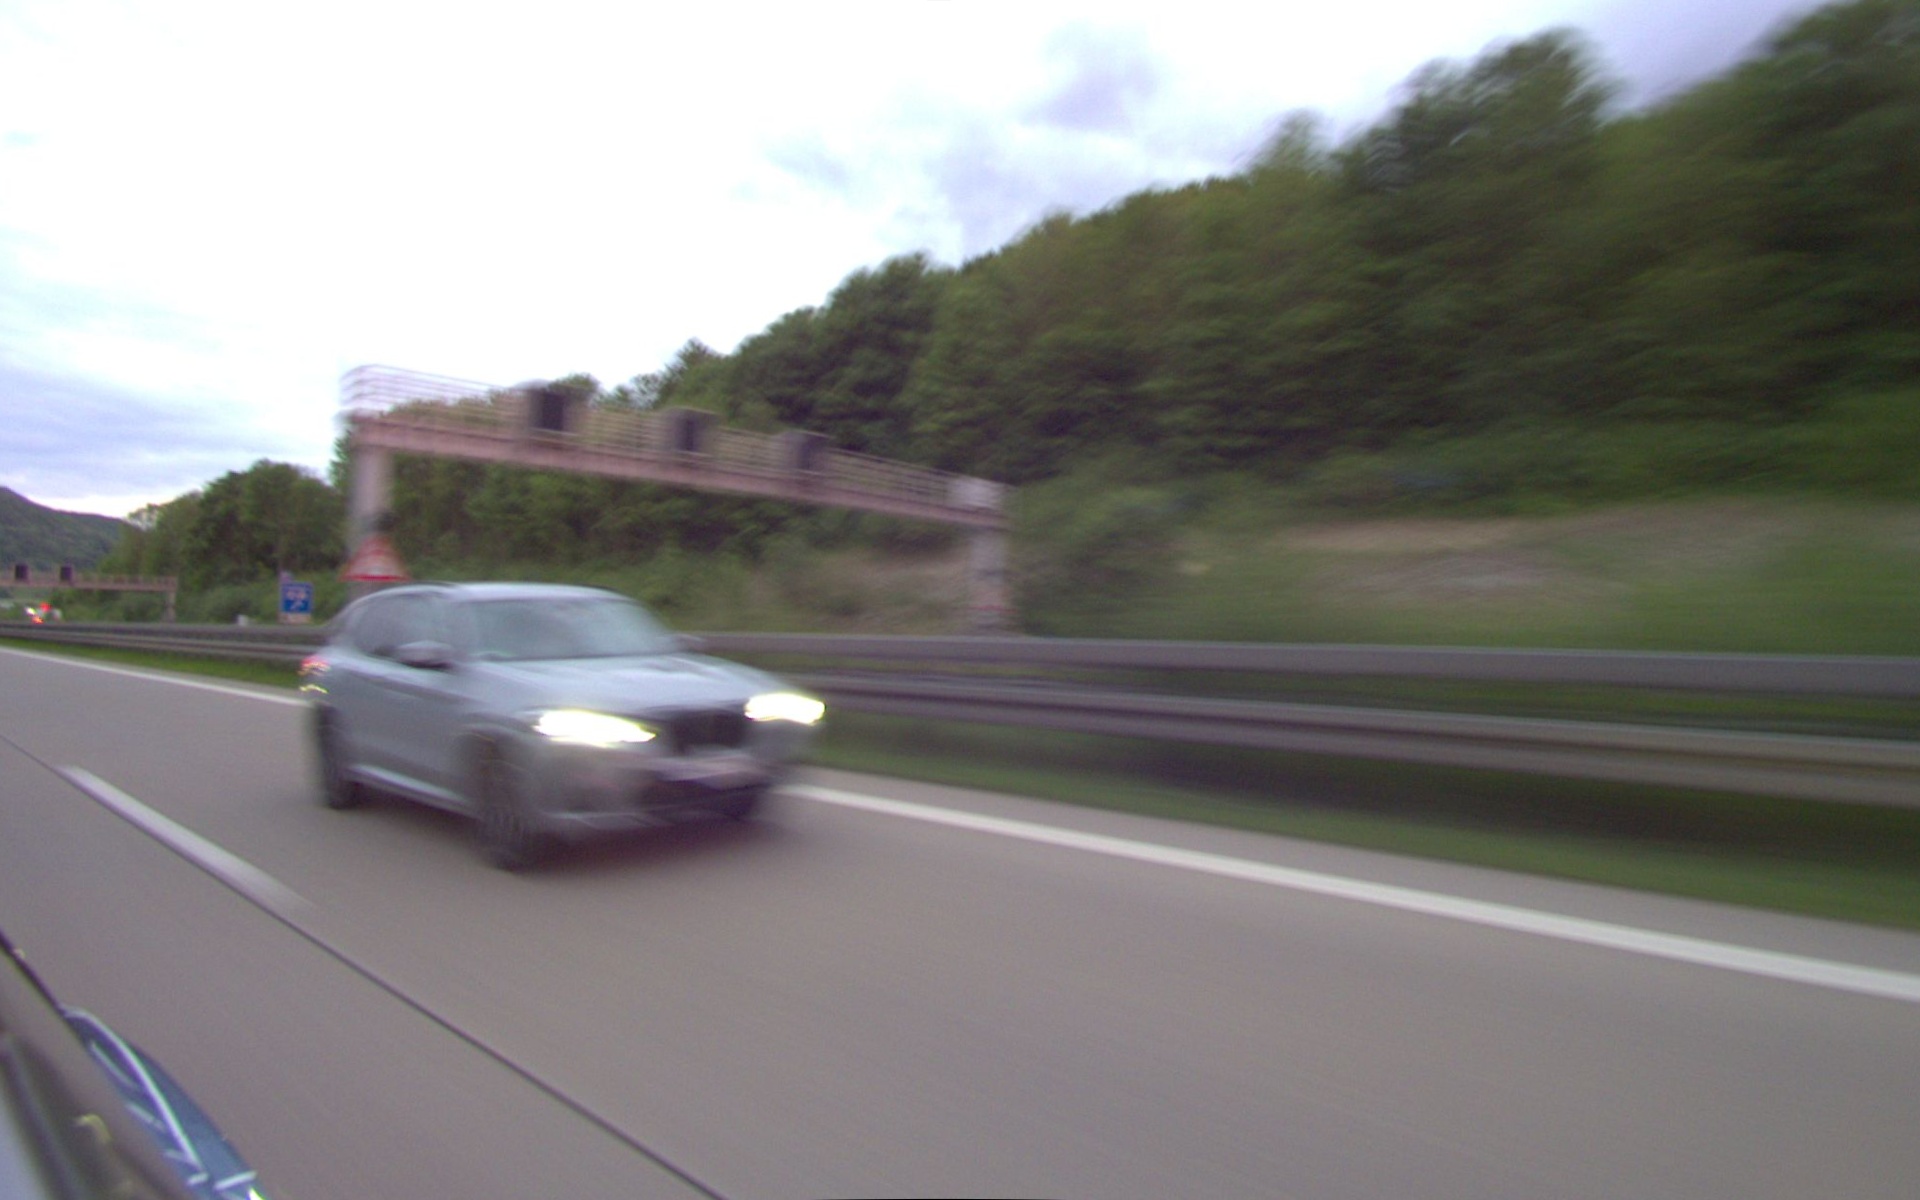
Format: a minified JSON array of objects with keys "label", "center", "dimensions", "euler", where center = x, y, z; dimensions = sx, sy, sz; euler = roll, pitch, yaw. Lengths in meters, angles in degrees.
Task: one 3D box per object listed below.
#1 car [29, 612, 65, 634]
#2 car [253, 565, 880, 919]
[{"label":"car","center":[-99.354,2.502,110.116],"dimensions":[6.716,2.377,2.115],"euler":[-1,-1,41]},{"label":"car","center":[-3.215,0.712,7.354],"dimensions":[5.637,1.672,1.869],"euler":[-1,-1,41]}]
